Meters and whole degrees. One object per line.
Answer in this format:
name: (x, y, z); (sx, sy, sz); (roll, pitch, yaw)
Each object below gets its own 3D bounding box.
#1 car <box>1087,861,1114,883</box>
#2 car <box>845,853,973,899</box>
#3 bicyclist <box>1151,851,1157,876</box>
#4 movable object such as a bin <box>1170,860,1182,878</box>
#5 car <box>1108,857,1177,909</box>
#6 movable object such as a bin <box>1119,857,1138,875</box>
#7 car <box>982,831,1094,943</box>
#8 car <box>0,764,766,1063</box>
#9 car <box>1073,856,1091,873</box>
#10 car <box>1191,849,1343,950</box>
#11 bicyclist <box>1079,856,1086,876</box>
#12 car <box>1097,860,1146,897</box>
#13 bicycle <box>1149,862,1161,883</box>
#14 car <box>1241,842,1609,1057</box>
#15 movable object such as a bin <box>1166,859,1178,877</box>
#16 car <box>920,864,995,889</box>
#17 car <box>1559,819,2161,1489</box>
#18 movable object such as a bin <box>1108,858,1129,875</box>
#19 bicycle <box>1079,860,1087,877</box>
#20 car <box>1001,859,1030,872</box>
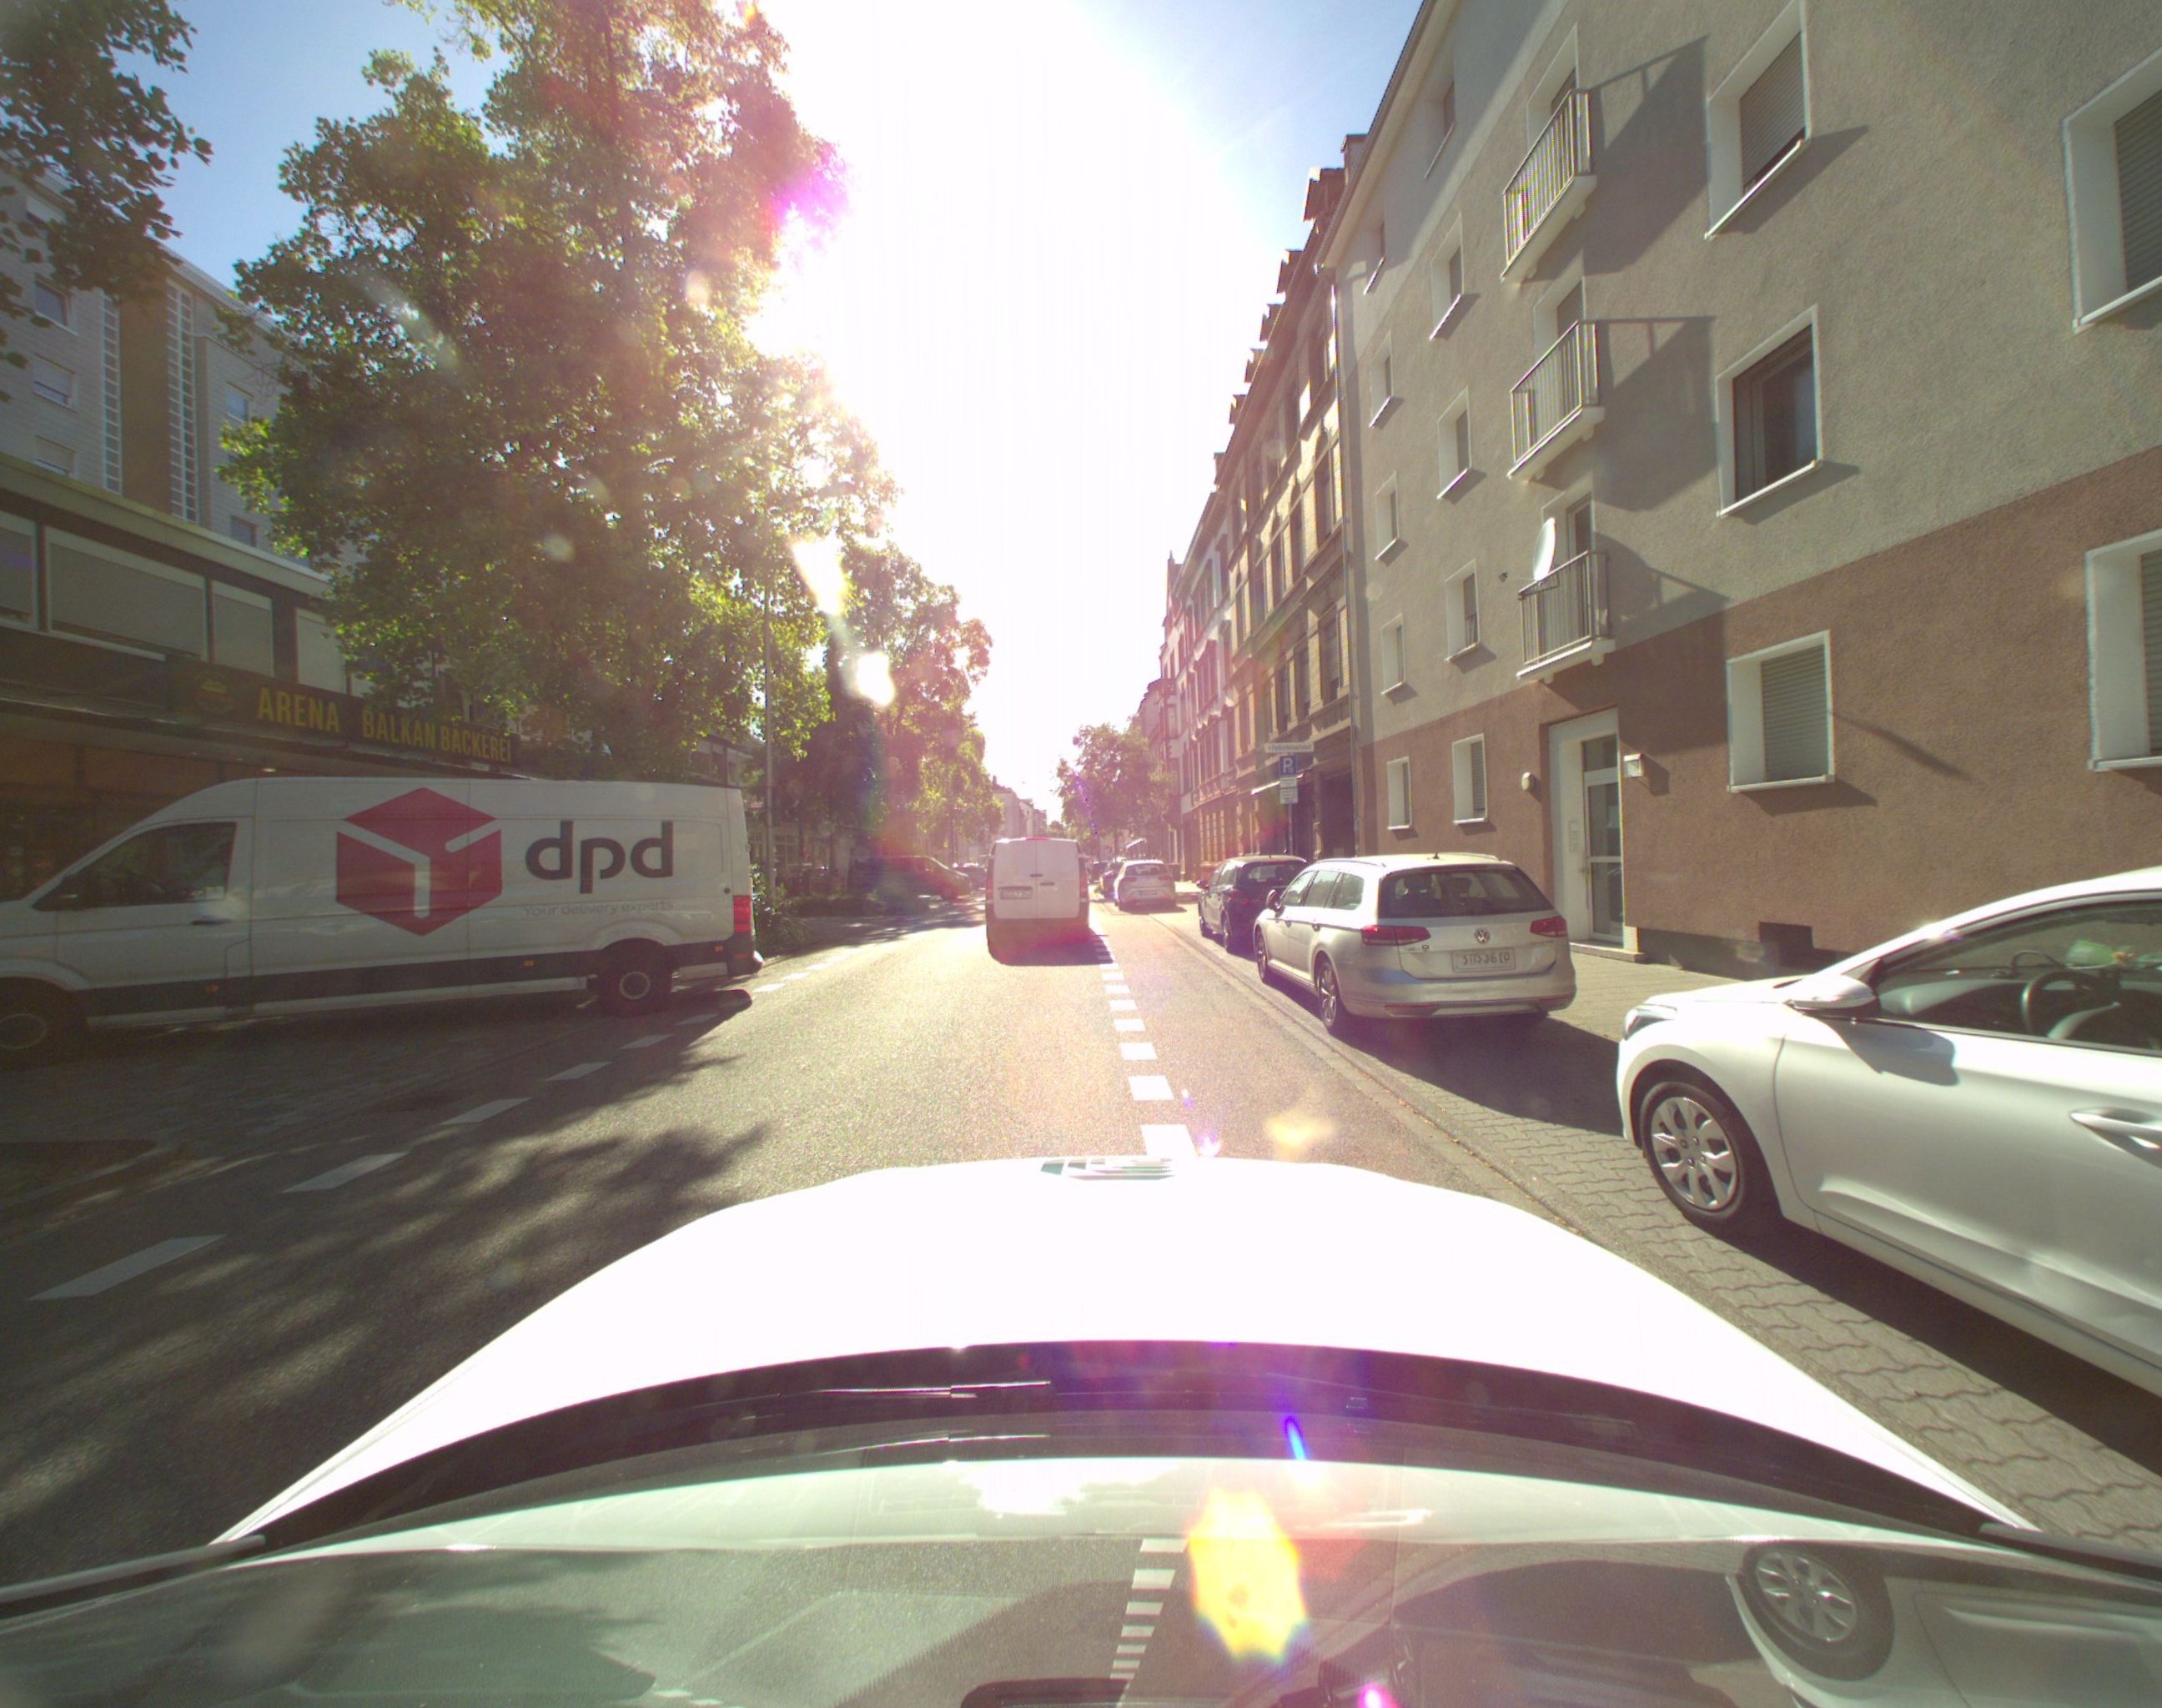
car: (1.371, 1.244, 57.701); (1.632, 1.476, 3.576); (-2, -1, -3)
car: (-7.573, 0.961, 36.300); (5.278, 1.974, 2.014); (0, -1, -2)
bicyclist: (4.447, 0.577, 49.640); (0.359, 1.477, 0.531); (-1, -1, 3)
movable object such as a bin: (5.673, 0.912, 48.749); (0.636, 1.069, 0.639); (-1, -1, -2)
car: (1.852, 0.848, 25.654); (1.734, 1.451, 3.997); (-2, 0, -2)
movable object such as a bin: (3.924, 0.972, 66.748); (1.028, 1.348, 1.116); (-3, -1, 38)
car: (-0.988, 0.563, 16.385); (1.918, 1.914, 4.877); (0, 0, -6)
car: (-7.018, 0.446, 8.747); (6.616, 2.474, 1.983); (-1, 0, -26)
car: (0.061, 1.173, 91.868); (1.811, 1.921, 4.640); (-1, 0, -2)
car: (3.051, 0.701, 14.117); (1.704, 1.480, 3.708); (-1, -1, -1)
bicyclist: (0.132, 0.900, 61.390); (0.438, 1.508, 0.496); (-4, 0, -2)
car: (1.665, 1.001, 34.815); (1.734, 1.451, 4.304); (-2, 0, -2)
bicycle: (4.499, 1.110, 49.372); (0.534, 1.148, 2.125); (-6, -1, 3)
car: (2.903, 0.699, 8.089); (1.779, 1.460, 4.517); (-3, 0, 1)
movable object such as a bin: (5.584, 0.880, 49.902); (0.636, 1.069, 0.632); (-3, -1, -2)
car: (-7.611, 1.375, 50.378); (4.290, 1.460, 1.762); (0, -1, 1)
car: (3.263, 0.650, 2.060); (1.727, 1.486, 3.791); (-3, 0, -2)
movable object such as a bin: (3.034, 1.000, 65.730); (1.279, 1.348, 1.095); (-2, -1, -43)
bicycle: (0.147, 1.097, 61.305); (0.474, 1.274, 1.217); (-3, 0, -2)
car: (-9.125, 1.627, 113.617); (3.980, 1.640, 1.997); (-1, -1, -5)
